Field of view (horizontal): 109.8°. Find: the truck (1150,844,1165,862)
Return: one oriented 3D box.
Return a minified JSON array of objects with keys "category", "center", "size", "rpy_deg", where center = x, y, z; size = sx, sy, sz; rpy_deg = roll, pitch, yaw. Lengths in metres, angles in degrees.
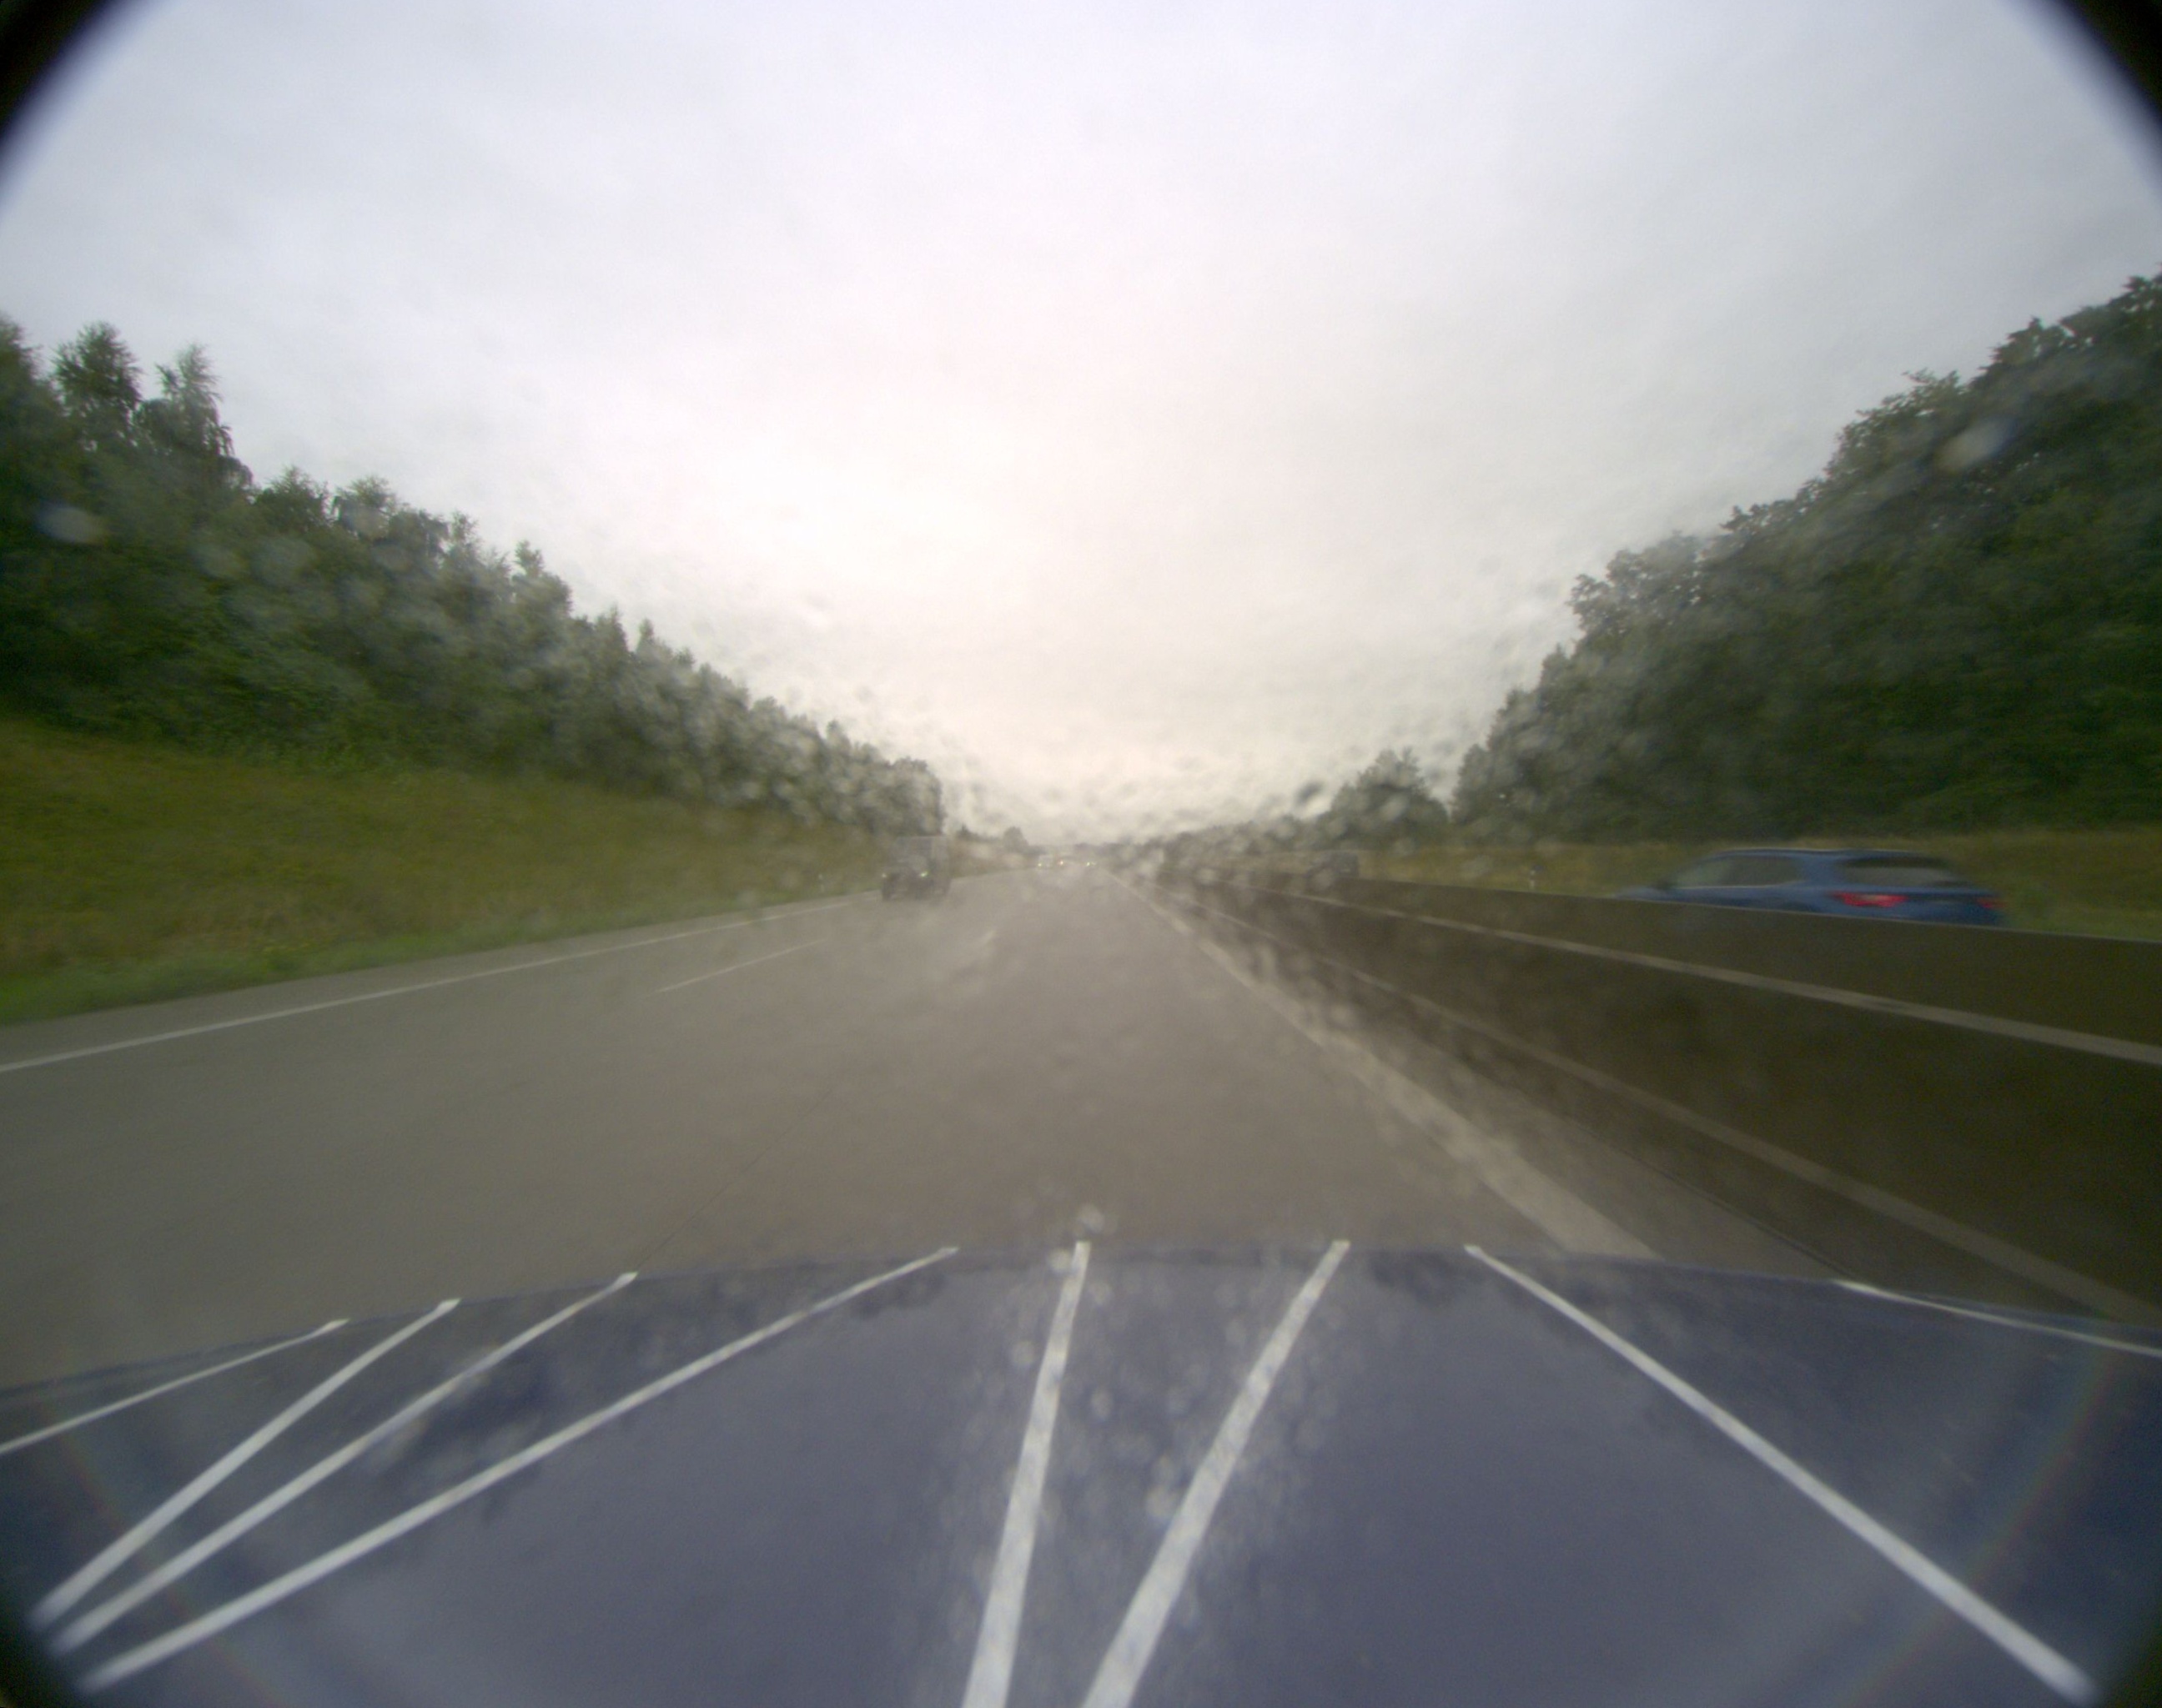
[{"category":"truck","center":[18.349,-0.286,181.855],"size":[2.591,4.116,8.592],"rpy_deg":[1,0,0]}]

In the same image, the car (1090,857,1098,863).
[{"category":"car","center":[3.083,1.458,179.671],"size":[1.733,1.450,4.673],"rpy_deg":[-1,-1,1]}]

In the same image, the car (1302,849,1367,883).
[{"category":"car","center":[13.202,0.567,39.932],"size":[1.884,1.655,4.687],"rpy_deg":[0,1,1]}]

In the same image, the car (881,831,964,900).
[{"category":"car","center":[-6.753,0.473,33.213],"size":[1.945,2.643,6.587],"rpy_deg":[-2,0,2]}]

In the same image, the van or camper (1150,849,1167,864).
[{"category":"van or camper","center":[14.706,0.503,144.360],"size":[2.418,2.720,7.713],"rpy_deg":[0,1,1]}]

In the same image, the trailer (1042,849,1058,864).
[{"category":"trailer","center":[-5.281,0.432,130.380],"size":[2.348,2.445,5.939],"rpy_deg":[0,1,2]}]

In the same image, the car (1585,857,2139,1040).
[{"category":"car","center":[8.398,0.837,9.007],"size":[1.777,1.566,4.687],"rpy_deg":[0,0,1]}]

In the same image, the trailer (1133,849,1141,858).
[{"category":"trailer","center":[15.579,-0.218,211.263],"size":[2.043,2.359,5.833],"rpy_deg":[0,0,1]}]

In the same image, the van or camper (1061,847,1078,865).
[{"category":"van or camper","center":[-1.724,0.253,115.520],"size":[2.233,2.537,7.950],"rpy_deg":[0,0,2]}]

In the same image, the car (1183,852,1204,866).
[{"category":"car","center":[13.679,0.621,92.781],"size":[1.884,1.655,4.687],"rpy_deg":[0,0,1]}]

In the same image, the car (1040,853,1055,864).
[{"category":"car","center":[-5.419,0.718,124.447],"size":[1.998,1.575,5.954],"rpy_deg":[-2,0,2]}]
